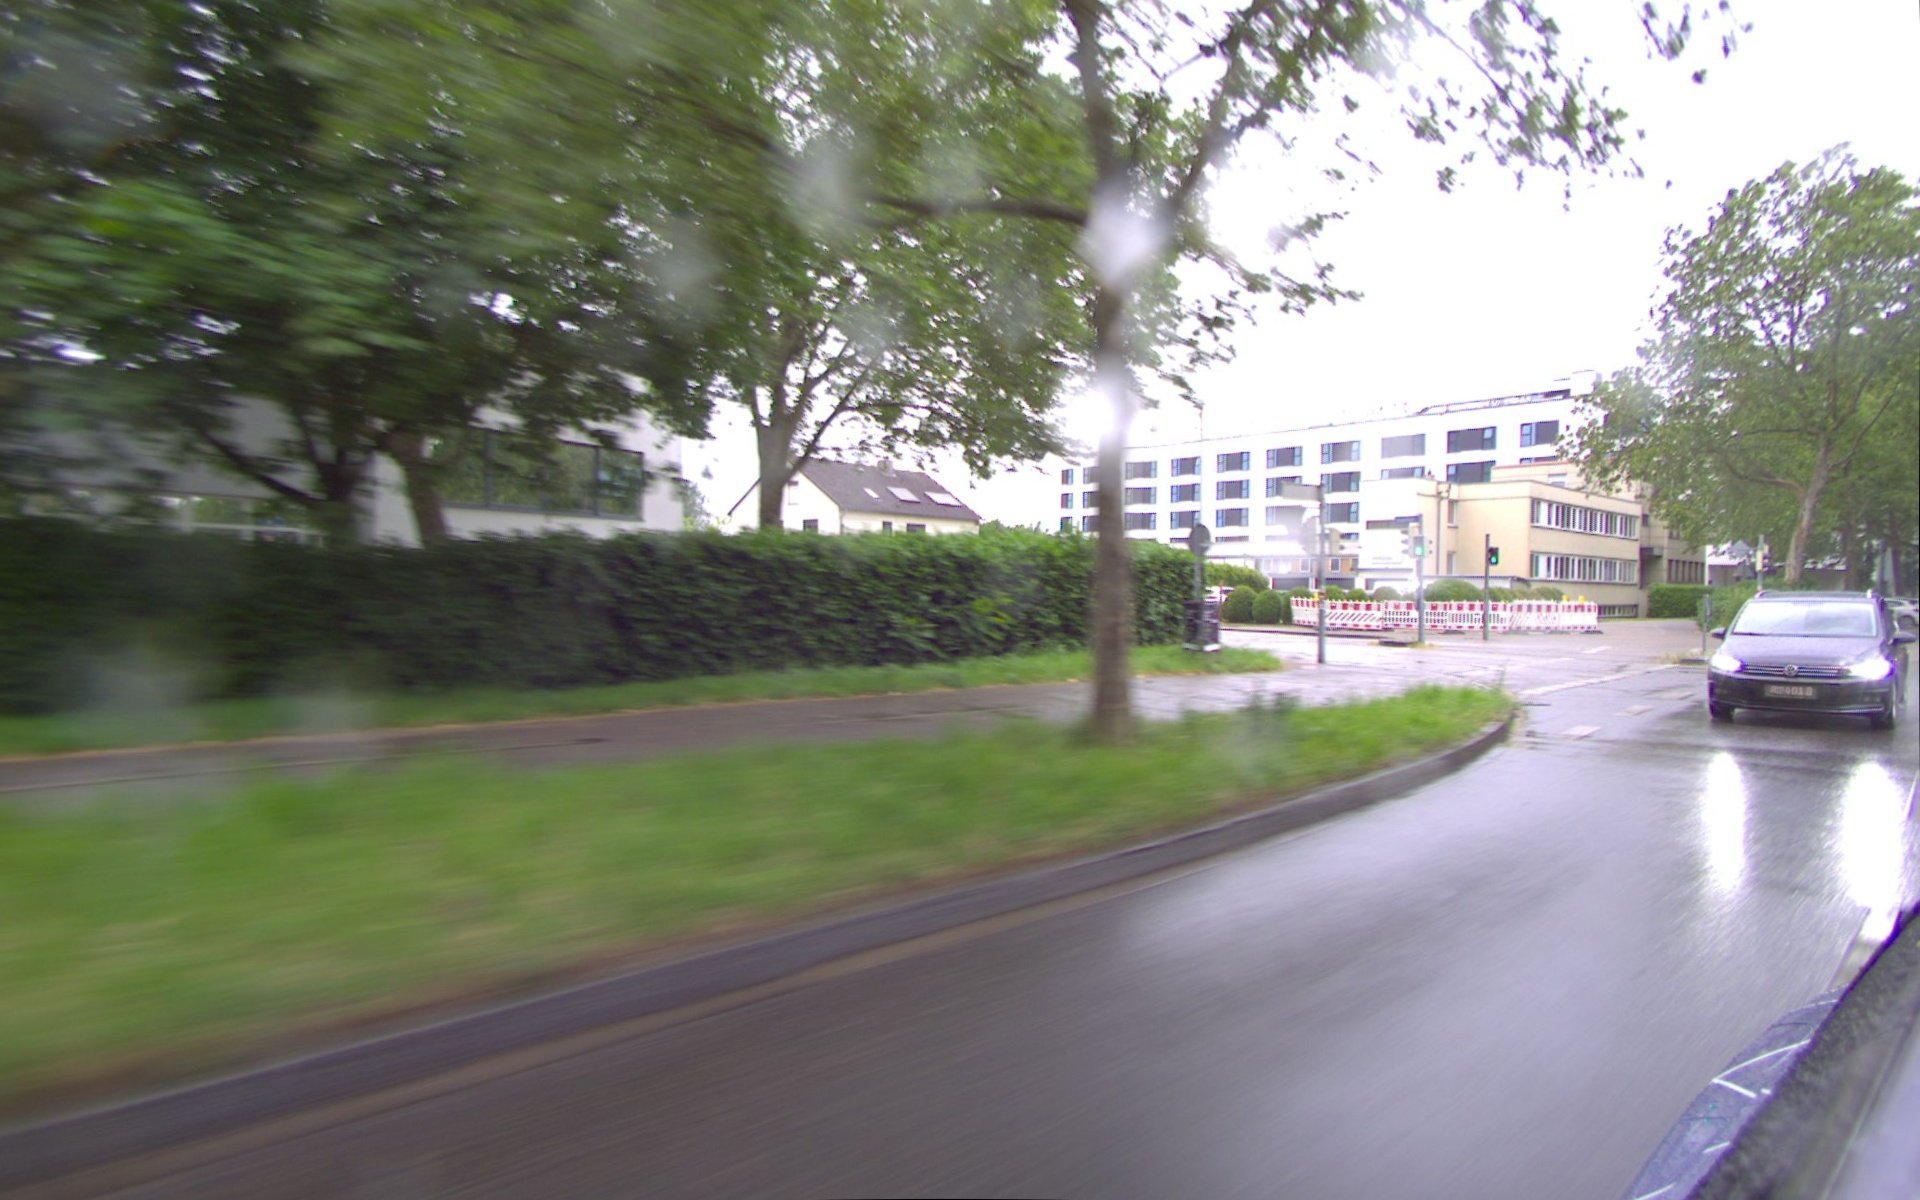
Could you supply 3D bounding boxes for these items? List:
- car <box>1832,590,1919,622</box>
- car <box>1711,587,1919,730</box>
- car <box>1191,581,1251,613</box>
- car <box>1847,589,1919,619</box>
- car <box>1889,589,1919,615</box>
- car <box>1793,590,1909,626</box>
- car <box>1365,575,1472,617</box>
[{"bbox_3d":[47.076,0.286,51.429,1.754,1.575,3.993,0,1,-41],"label":"car"},{"bbox_3d":[11.331,0.638,13.199,3.932,1.575,1.781,0,0,-43],"label":"car"},{"bbox_3d":[13.453,-0.185,52.033,1.773,1.575,3.951,1,1,34],"label":"car"},{"bbox_3d":[51.084,0.226,55.119,1.754,1.575,3.993,0,1,-41],"label":"car"},{"bbox_3d":[58.305,0.133,60.474,1.754,1.575,3.993,0,1,-41],"label":"car"},{"bbox_3d":[42.556,0.340,48.395,1.754,1.575,3.993,0,1,-41],"label":"car"},{"bbox_3d":[20.393,-0.207,45.096,1.754,1.792,3.993,0,1,-41],"label":"car"}]
